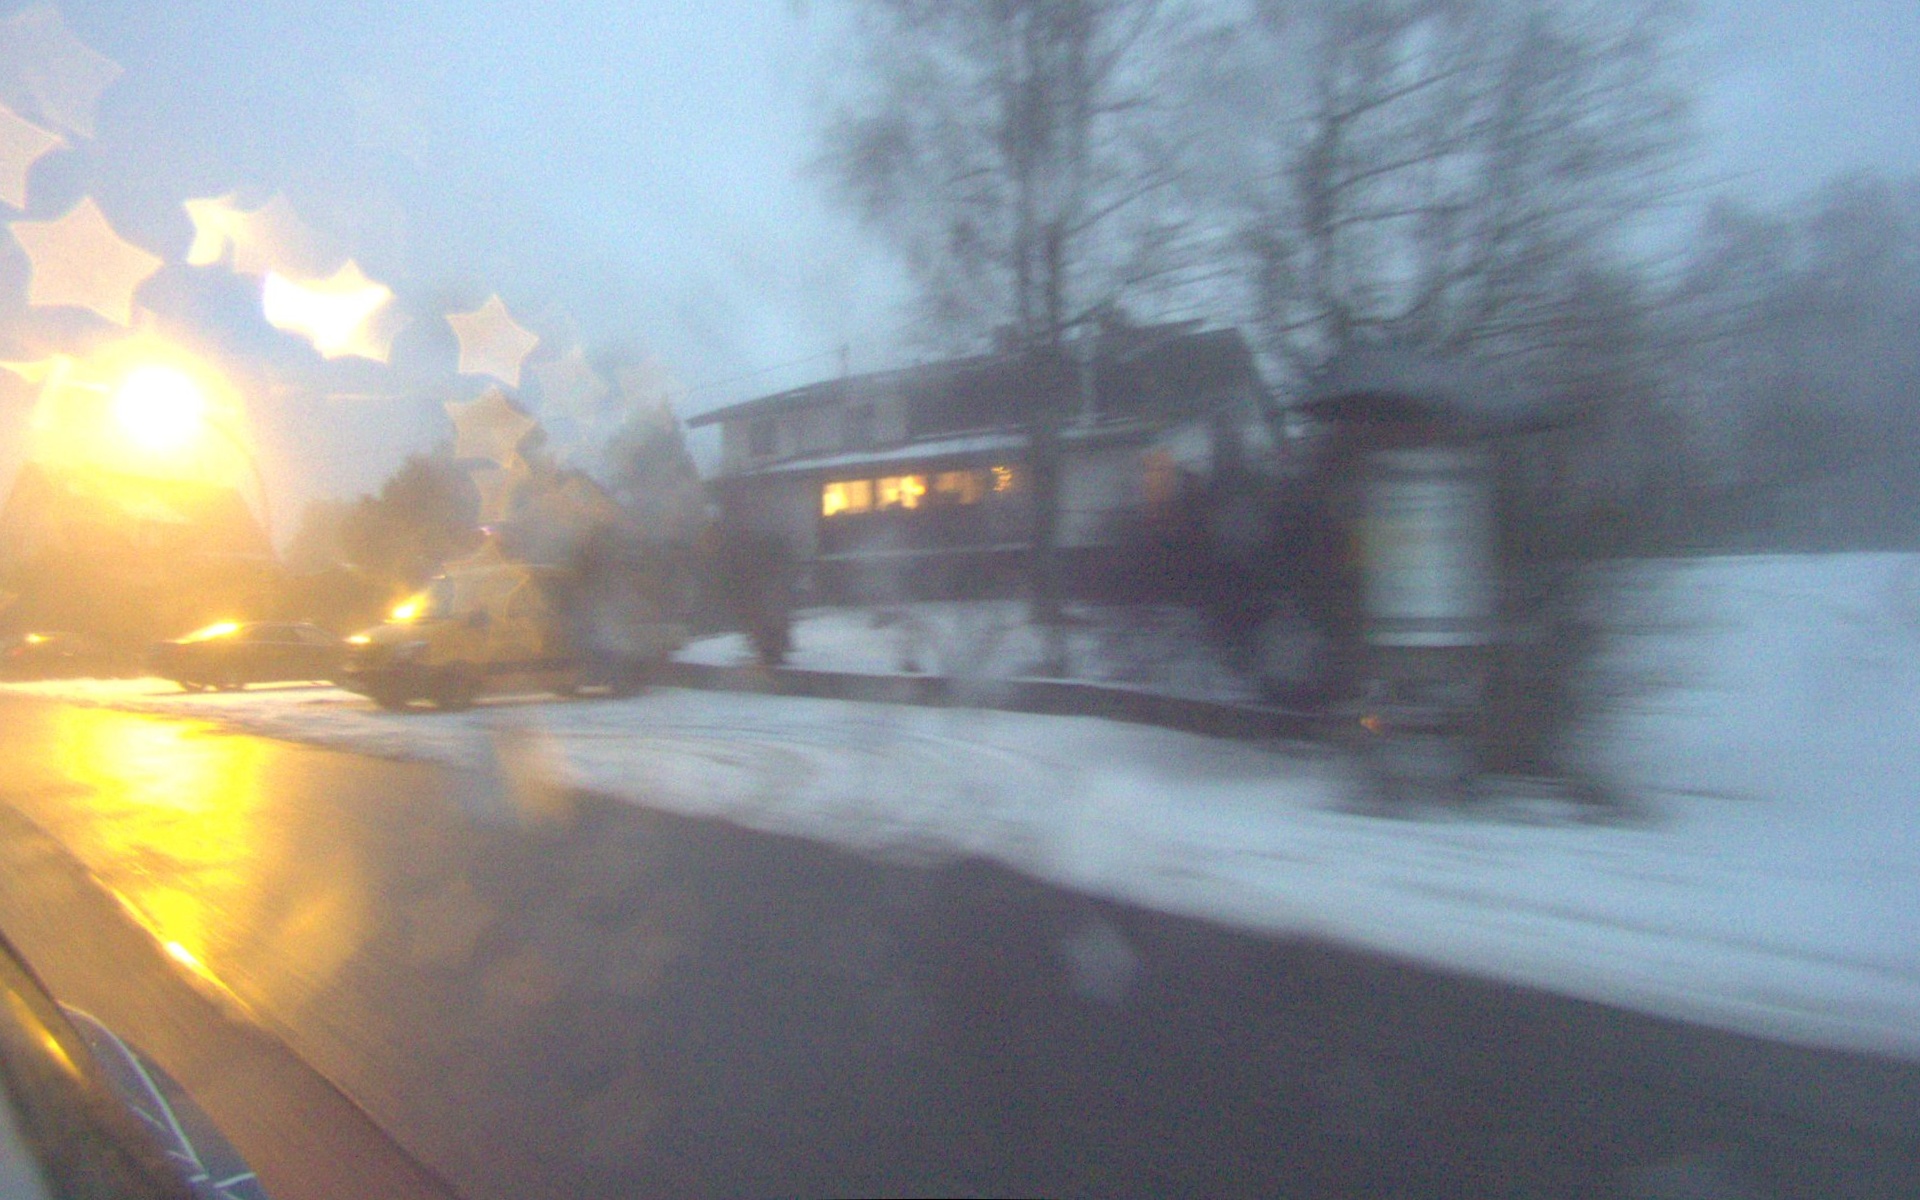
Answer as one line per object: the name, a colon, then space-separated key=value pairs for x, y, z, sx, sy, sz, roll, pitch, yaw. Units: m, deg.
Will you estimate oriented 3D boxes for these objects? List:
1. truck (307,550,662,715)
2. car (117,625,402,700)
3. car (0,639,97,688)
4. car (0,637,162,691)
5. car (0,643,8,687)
truck: x=-7.678 y=0.594 z=17.019 sx=1.992 sy=2.320 sz=5.224 roll=-3 pitch=-4 yaw=30
car: x=-15.560 y=1.368 z=22.802 sx=2.115 sy=1.496 sz=4.852 roll=-3 pitch=-3 yaw=30
car: x=-31.570 y=2.081 z=33.219 sx=2.097 sy=1.578 sz=4.507 roll=-2 pitch=-3 yaw=22
car: x=-26.578 y=1.884 z=30.265 sx=1.929 sy=1.483 sz=3.831 roll=-3 pitch=-3 yaw=27
car: x=-36.700 y=2.330 z=35.798 sx=4.948 sy=1.578 sz=1.991 roll=-2 pitch=-4 yaw=13
